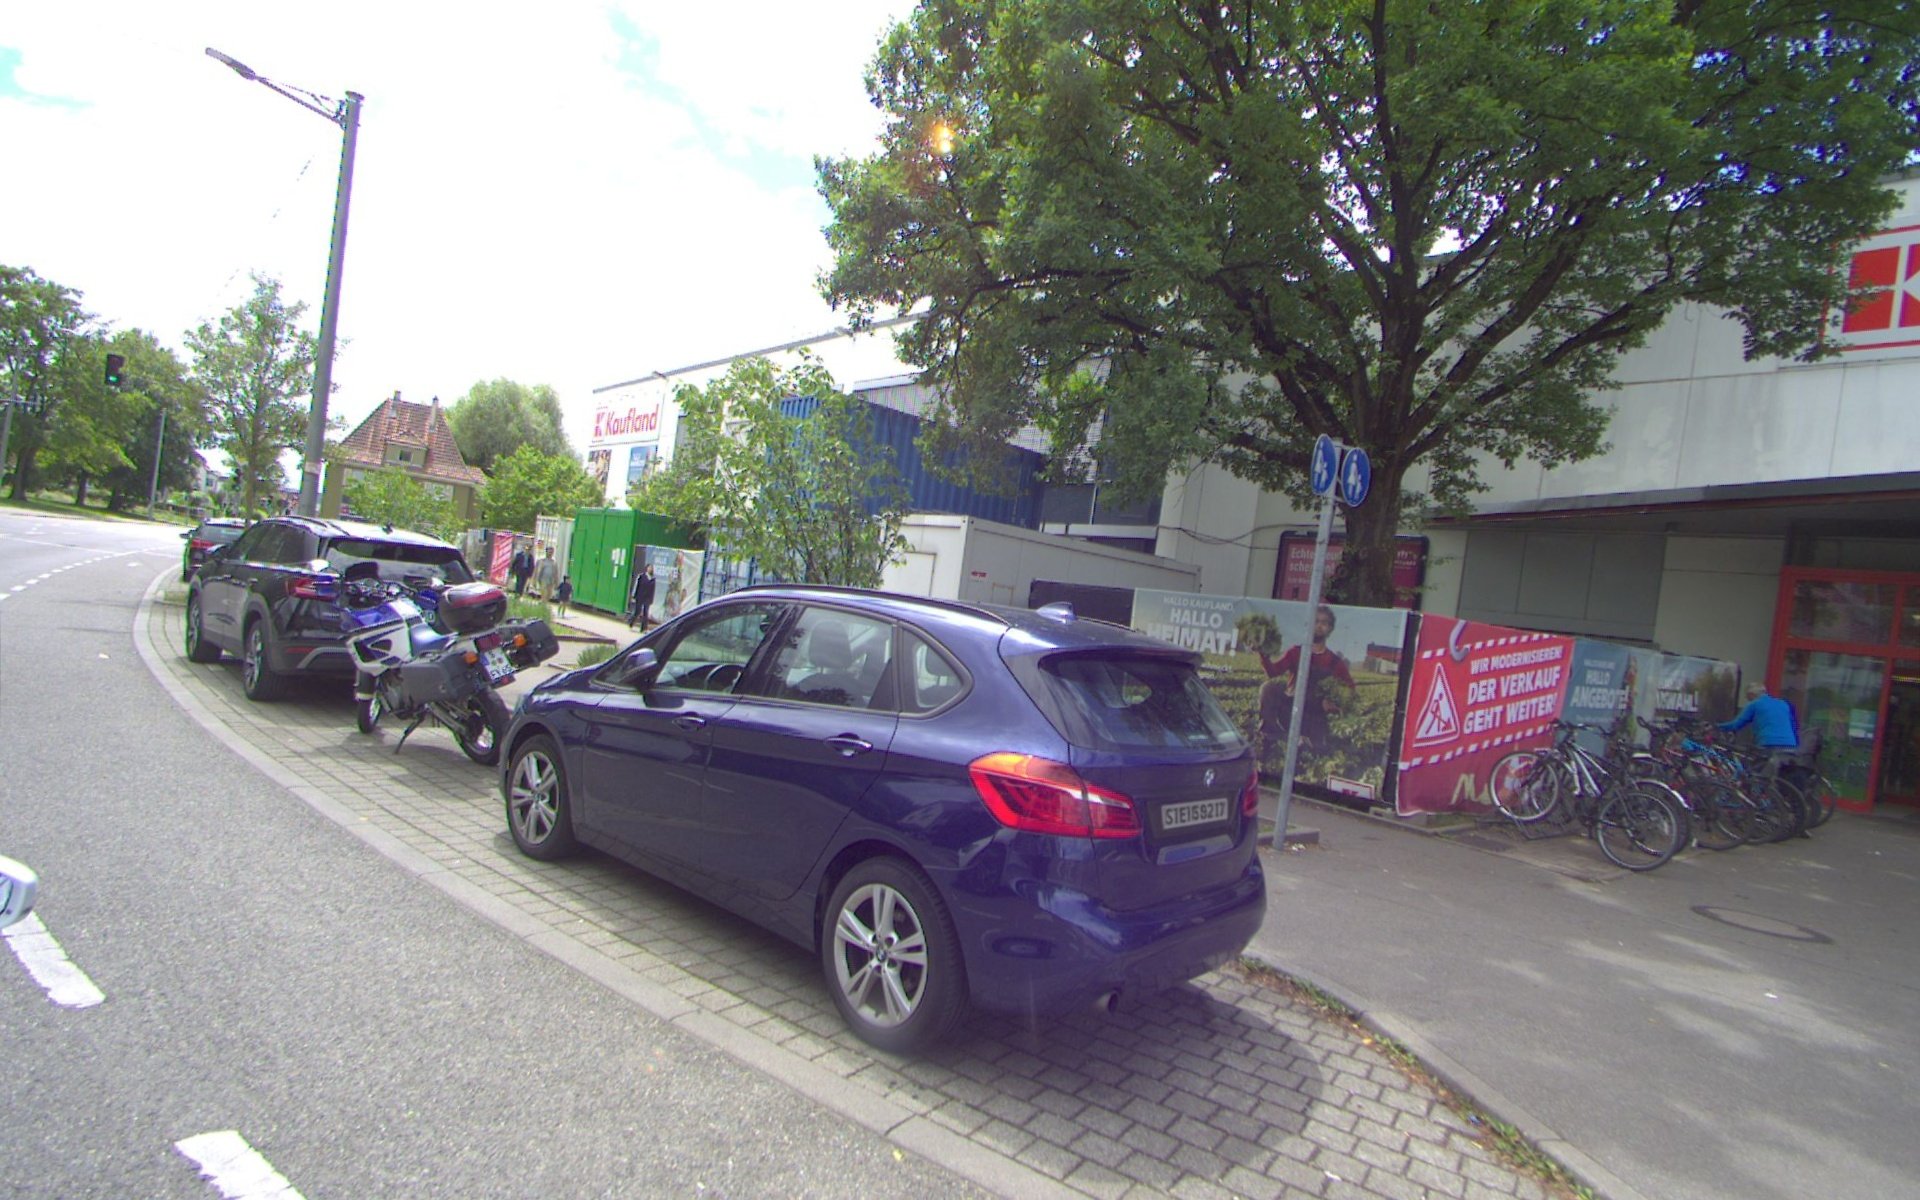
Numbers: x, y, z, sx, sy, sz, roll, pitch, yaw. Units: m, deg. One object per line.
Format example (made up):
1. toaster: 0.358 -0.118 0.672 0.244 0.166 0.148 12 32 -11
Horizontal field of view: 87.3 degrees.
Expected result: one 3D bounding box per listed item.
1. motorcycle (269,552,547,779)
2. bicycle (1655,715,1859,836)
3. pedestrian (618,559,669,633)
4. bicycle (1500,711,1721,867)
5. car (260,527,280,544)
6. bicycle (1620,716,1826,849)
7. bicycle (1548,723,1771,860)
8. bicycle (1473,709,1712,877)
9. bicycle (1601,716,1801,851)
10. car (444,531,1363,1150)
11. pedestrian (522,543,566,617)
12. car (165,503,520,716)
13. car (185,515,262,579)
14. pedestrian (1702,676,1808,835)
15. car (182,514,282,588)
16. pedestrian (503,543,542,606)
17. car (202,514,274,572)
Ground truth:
1. motorcycle: -4.150 0.411 7.473 2.229 1.322 1.069 7 2 42
2. bicycle: 10.197 2.220 12.957 0.525 1.169 1.896 8 -1 -34
3. pedestrian: -7.507 -0.101 23.839 0.739 1.637 0.759 8 0 -39
4. bicycle: 6.380 1.821 9.992 0.495 1.169 1.763 8 -1 -23
5. car: -82.339 -7.705 120.113 1.822 1.637 4.112 7 0 -35
6. bicycle: 8.806 2.078 11.684 0.436 1.169 1.748 8 -1 -38
7. bicycle: 7.314 1.965 10.595 0.518 1.053 1.778 6 0 -44
8. bicycle: 5.736 1.717 9.252 0.446 1.169 1.779 8 -1 -27
9. bicycle: 8.264 2.014 11.289 0.422 1.169 1.645 8 -1 -37
10. car: -0.613 0.659 5.010 4.367 1.598 1.913 6 0 41
11. pedestrian: -10.220 -0.493 24.720 0.647 1.717 0.717 7 0 -37
12. car: -6.527 -0.005 10.349 4.782 1.642 1.874 6 0 44
13. car: -20.849 -1.523 28.563 1.559 1.511 3.961 6 0 -36
14. pedestrian: 9.651 1.863 12.219 0.619 1.779 0.740 4 2 -37
15. car: -17.861 -1.246 24.592 1.755 1.496 4.884 4 1 -38
16. pedestrian: -12.702 -0.756 29.196 0.649 1.717 0.835 7 0 -39
17. car: -23.848 -1.899 33.254 1.726 1.637 4.344 5 1 -36
